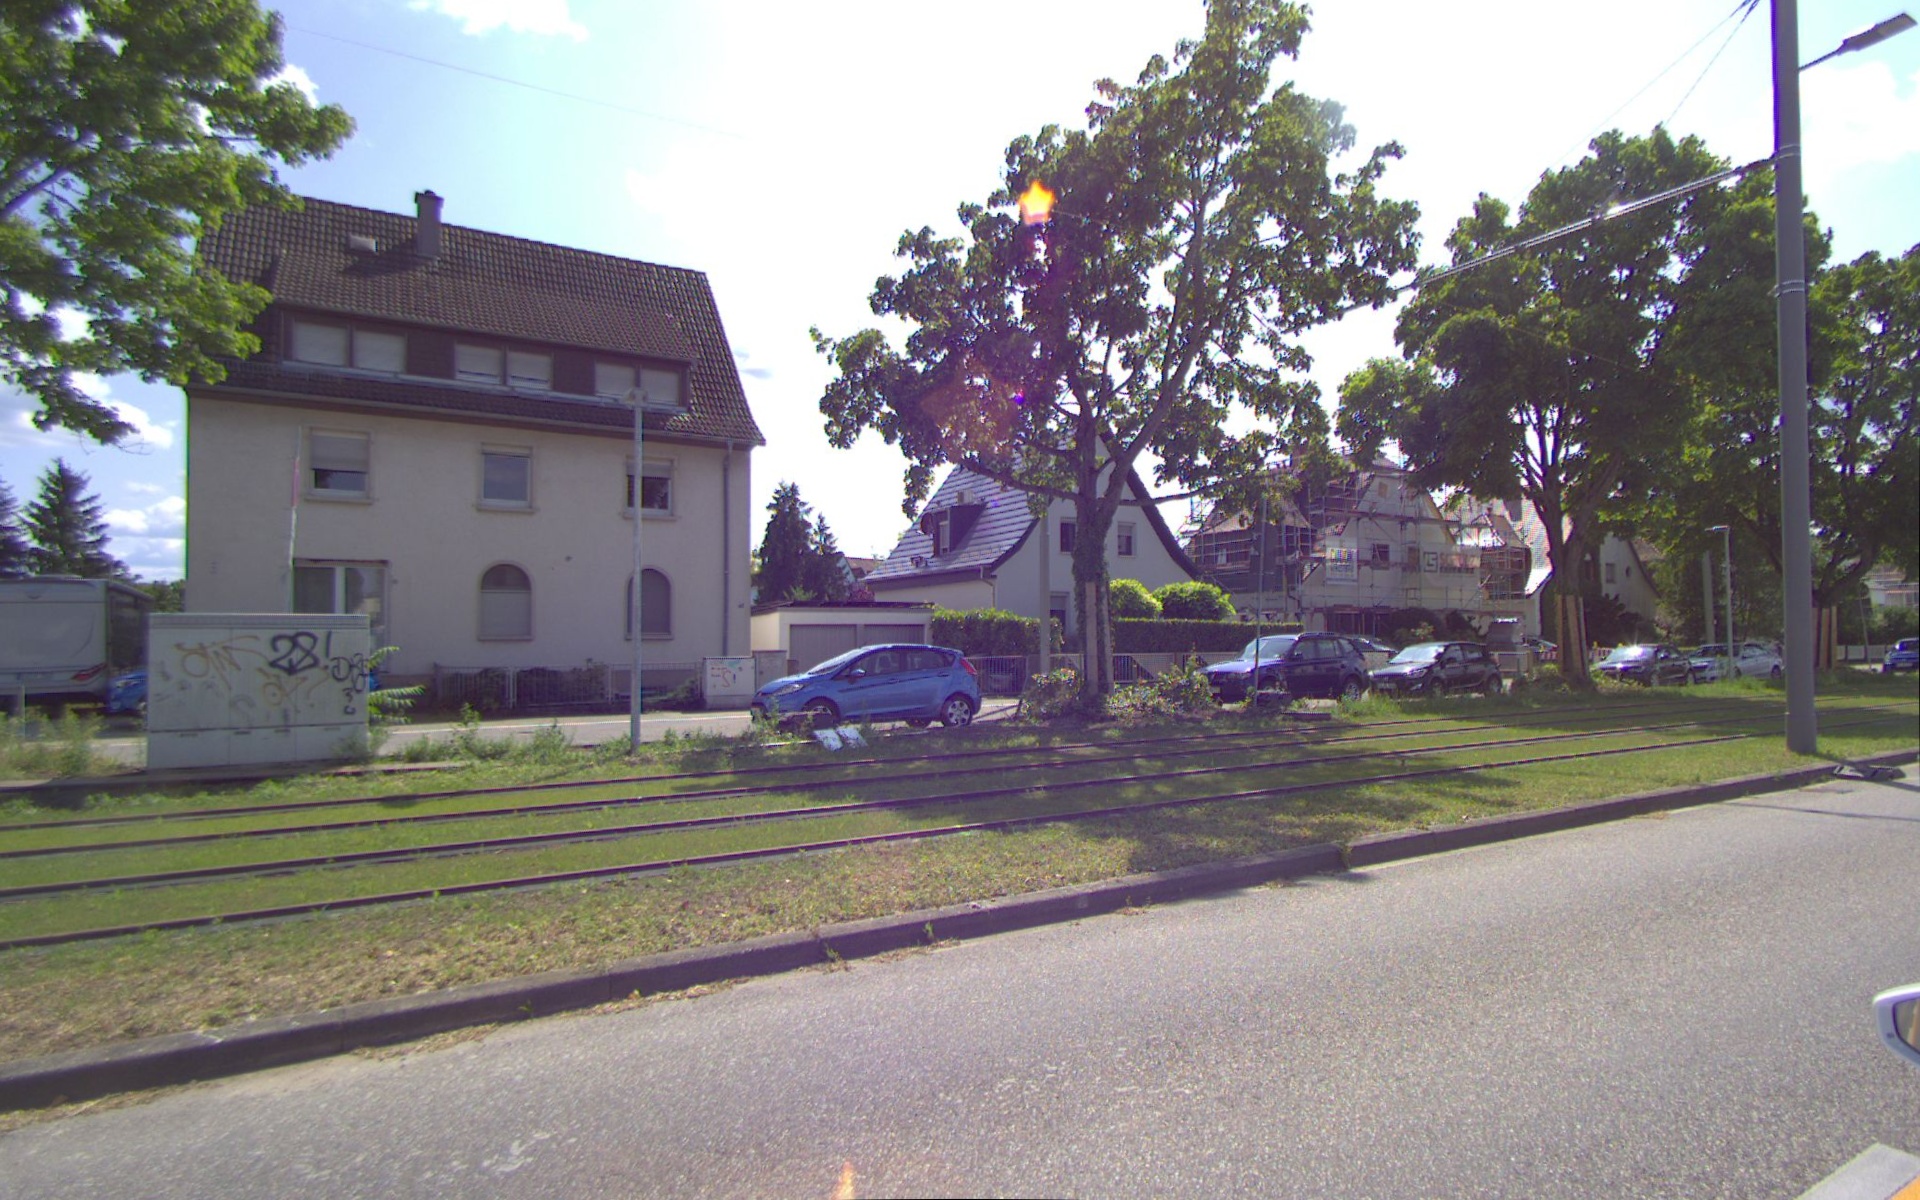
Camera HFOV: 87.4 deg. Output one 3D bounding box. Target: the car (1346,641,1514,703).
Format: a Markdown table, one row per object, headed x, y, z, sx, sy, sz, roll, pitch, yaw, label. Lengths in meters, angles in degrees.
| x | y | z | sx | sy | sz | roll | pitch | yaw | label |
| --- | --- | --- | --- | --- | --- | --- | --- | --- | --- |
| 11.913 | 1.808 | 25.440 | 3.955 | 1.457 | 1.984 | 2 | -5 | -31 | car |

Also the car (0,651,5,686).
| x | y | z | sx | sy | sz | roll | pitch | yaw | label |
| --- | --- | --- | --- | --- | --- | --- | --- | --- | --- |
| -35.975 | 2.452 | 35.805 | 1.746 | 1.314 | 3.971 | 2 | -4 | -28 | car |

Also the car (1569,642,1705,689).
| x | y | z | sx | sy | sz | roll | pitch | yaw | label |
| --- | --- | --- | --- | --- | --- | --- | --- | --- | --- |
| 20.596 | 1.998 | 30.546 | 3.809 | 1.334 | 1.985 | 2 | -6 | -31 | car |

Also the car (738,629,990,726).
| x | y | z | sx | sy | sz | roll | pitch | yaw | label |
| --- | --- | --- | --- | --- | --- | --- | --- | --- | --- |
| -1.576 | 1.251 | 16.748 | 3.842 | 1.454 | 1.747 | 2 | -4 | -29 | car |

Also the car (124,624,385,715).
| x | y | z | sx | sy | sz | roll | pitch | yaw | label |
| --- | --- | --- | --- | --- | --- | --- | --- | --- | --- |
| -13.489 | 1.328 | 19.562 | 3.954 | 1.598 | 1.894 | 2 | -4 | -31 | car |

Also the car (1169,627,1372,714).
| x | y | z | sx | sy | sz | roll | pitch | yaw | label |
| --- | --- | --- | --- | --- | --- | --- | --- | --- | --- |
| 6.843 | 1.513 | 22.019 | 4.347 | 1.713 | 1.982 | 2 | -4 | -34 | car |

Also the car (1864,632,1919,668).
| x | y | z | sx | sy | sz | roll | pitch | yaw | label |
| --- | --- | --- | --- | --- | --- | --- | --- | --- | --- |
| 40.179 | 2.131 | 42.399 | 3.957 | 1.472 | 1.983 | 2 | -4 | -33 | car |

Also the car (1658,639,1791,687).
| x | y | z | sx | sy | sz | roll | pitch | yaw | label |
| --- | --- | --- | --- | --- | --- | --- | --- | --- | --- |
| 25.423 | 2.071 | 33.360 | 4.882 | 1.501 | 1.796 | 2 | -4 | -31 | car |

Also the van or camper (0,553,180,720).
| x | y | z | sx | sy | sz | roll | pitch | yaw | label |
| --- | --- | --- | --- | --- | --- | --- | --- | --- | --- |
| -19.908 | 0.863 | 22.772 | 2.604 | 3.264 | 6.696 | 1 | -3 | -30 | van or camper |

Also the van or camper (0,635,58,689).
| x | y | z | sx | sy | sz | roll | pitch | yaw | label |
| --- | --- | --- | --- | --- | --- | --- | --- | --- | --- |
| -39.229 | 2.554 | 41.634 | 1.746 | 2.127 | 4.208 | 2 | -4 | -28 | van or camper |
